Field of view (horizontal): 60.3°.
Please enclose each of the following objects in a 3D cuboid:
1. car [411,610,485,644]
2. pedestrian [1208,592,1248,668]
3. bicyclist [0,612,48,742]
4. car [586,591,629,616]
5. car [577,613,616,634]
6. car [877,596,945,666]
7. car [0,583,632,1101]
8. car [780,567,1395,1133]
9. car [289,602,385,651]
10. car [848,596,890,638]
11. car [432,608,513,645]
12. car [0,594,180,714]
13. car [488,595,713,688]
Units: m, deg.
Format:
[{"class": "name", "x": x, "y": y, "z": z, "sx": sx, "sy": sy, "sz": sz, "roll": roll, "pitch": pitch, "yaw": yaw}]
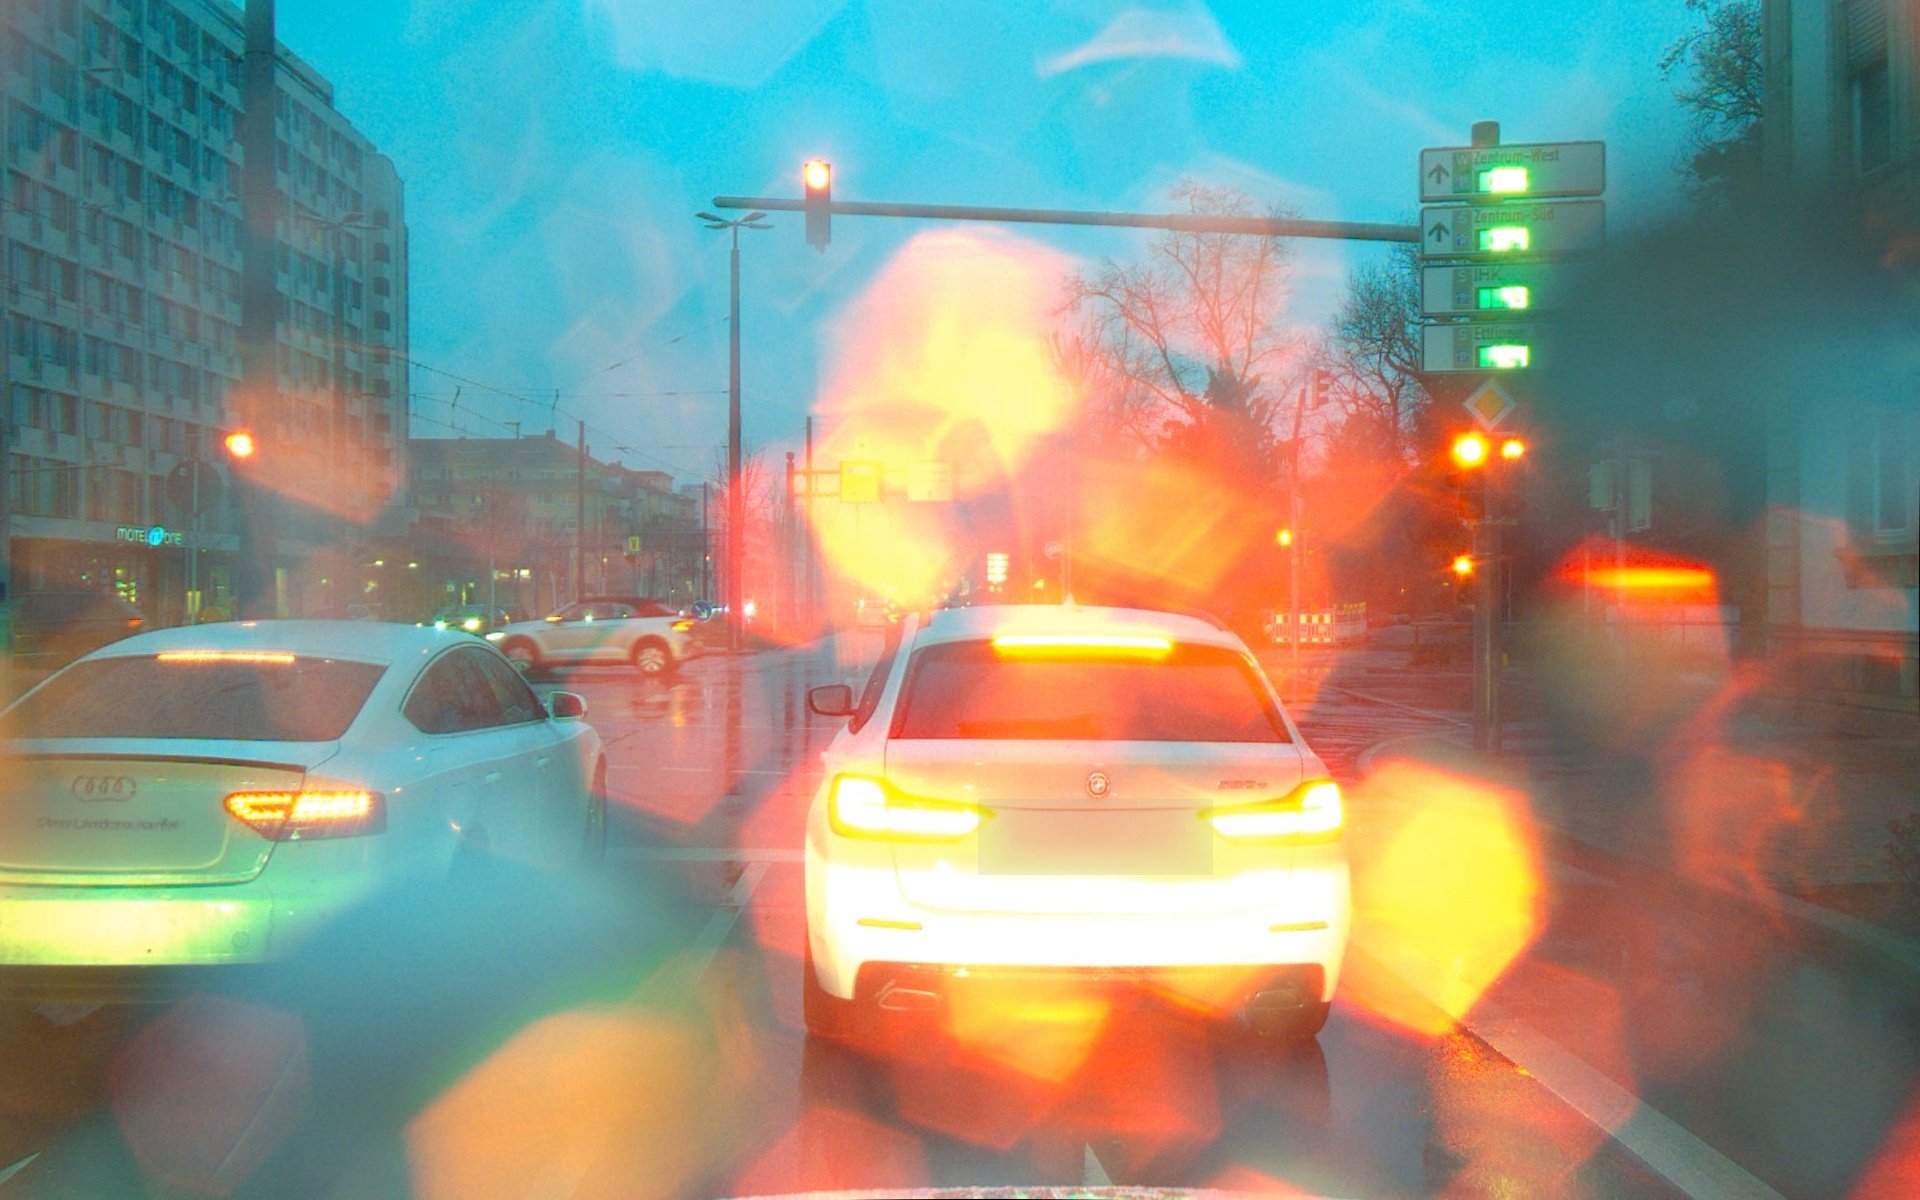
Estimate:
[{"class": "car", "x": -23.957, "y": 1.251, "z": 77.581, "sx": 1.953, "sy": 1.487, "sz": 5.094, "roll": 1, "pitch": 0, "yaw": -1}, {"class": "pedestrian", "x": 6.765, "y": 0.754, "z": 41.765, "sx": 0.705, "sy": 1.912, "sz": 0.668, "roll": 1, "pitch": -1, "yaw": -29}, {"class": "bicyclist", "x": -21.450, "y": 1.721, "z": 37.318, "sx": 1.329, "sy": 2.877, "sz": 1.185, "roll": 1, "pitch": -1, "yaw": -21}, {"class": "car", "x": -22.172, "y": 0.226, "z": 104.280, "sx": 1.954, "sy": 1.487, "sz": 5.090, "roll": 1, "pitch": 0, "yaw": -5}, {"class": "car", "x": -26.679, "y": 1.727, "z": 121.626, "sx": 1.954, "sy": 1.487, "sz": 5.092, "roll": 1, "pitch": 0, "yaw": -3}, {"class": "car", "x": -1.477, "y": 0.917, "z": 50.735, "sx": 1.953, "sy": 2.049, "sz": 3.999, "roll": 1, "pitch": 0, "yaw": -1}, {"class": "car", "x": -2.570, "y": 0.712, "z": 6.921, "sx": 1.724, "sy": 1.495, "sz": 4.249, "roll": 1, "pitch": 0, "yaw": -3}, {"class": "car", "x": 0.267, "y": 0.718, "z": 6.793, "sx": 1.724, "sy": 1.580, "sz": 4.249, "roll": 1, "pitch": 0, "yaw": -3}, {"class": "car", "x": -24.084, "y": 0.996, "z": 64.141, "sx": 1.842, "sy": 1.821, "sz": 4.599, "roll": 1, "pitch": 0, "yaw": 1}, {"class": "car", "x": -4.655, "y": 0.848, "z": 84.689, "sx": 1.953, "sy": 2.049, "sz": 3.999, "roll": 1, "pitch": 0, "yaw": -1}, {"class": "car", "x": -20.776, "y": 1.106, "z": 70.706, "sx": 1.953, "sy": 1.487, "sz": 5.094, "roll": 1, "pitch": 0, "yaw": -1}, {"class": "car", "x": -16.888, "y": 0.982, "z": 30.796, "sx": 4.008, "sy": 2.160, "sz": 1.948, "roll": 1, "pitch": 0, "yaw": -19}, {"class": "car", "x": -7.054, "y": 0.810, "z": 32.753, "sx": 3.986, "sy": 1.716, "sz": 1.959, "roll": 1, "pitch": 0, "yaw": 1}]
